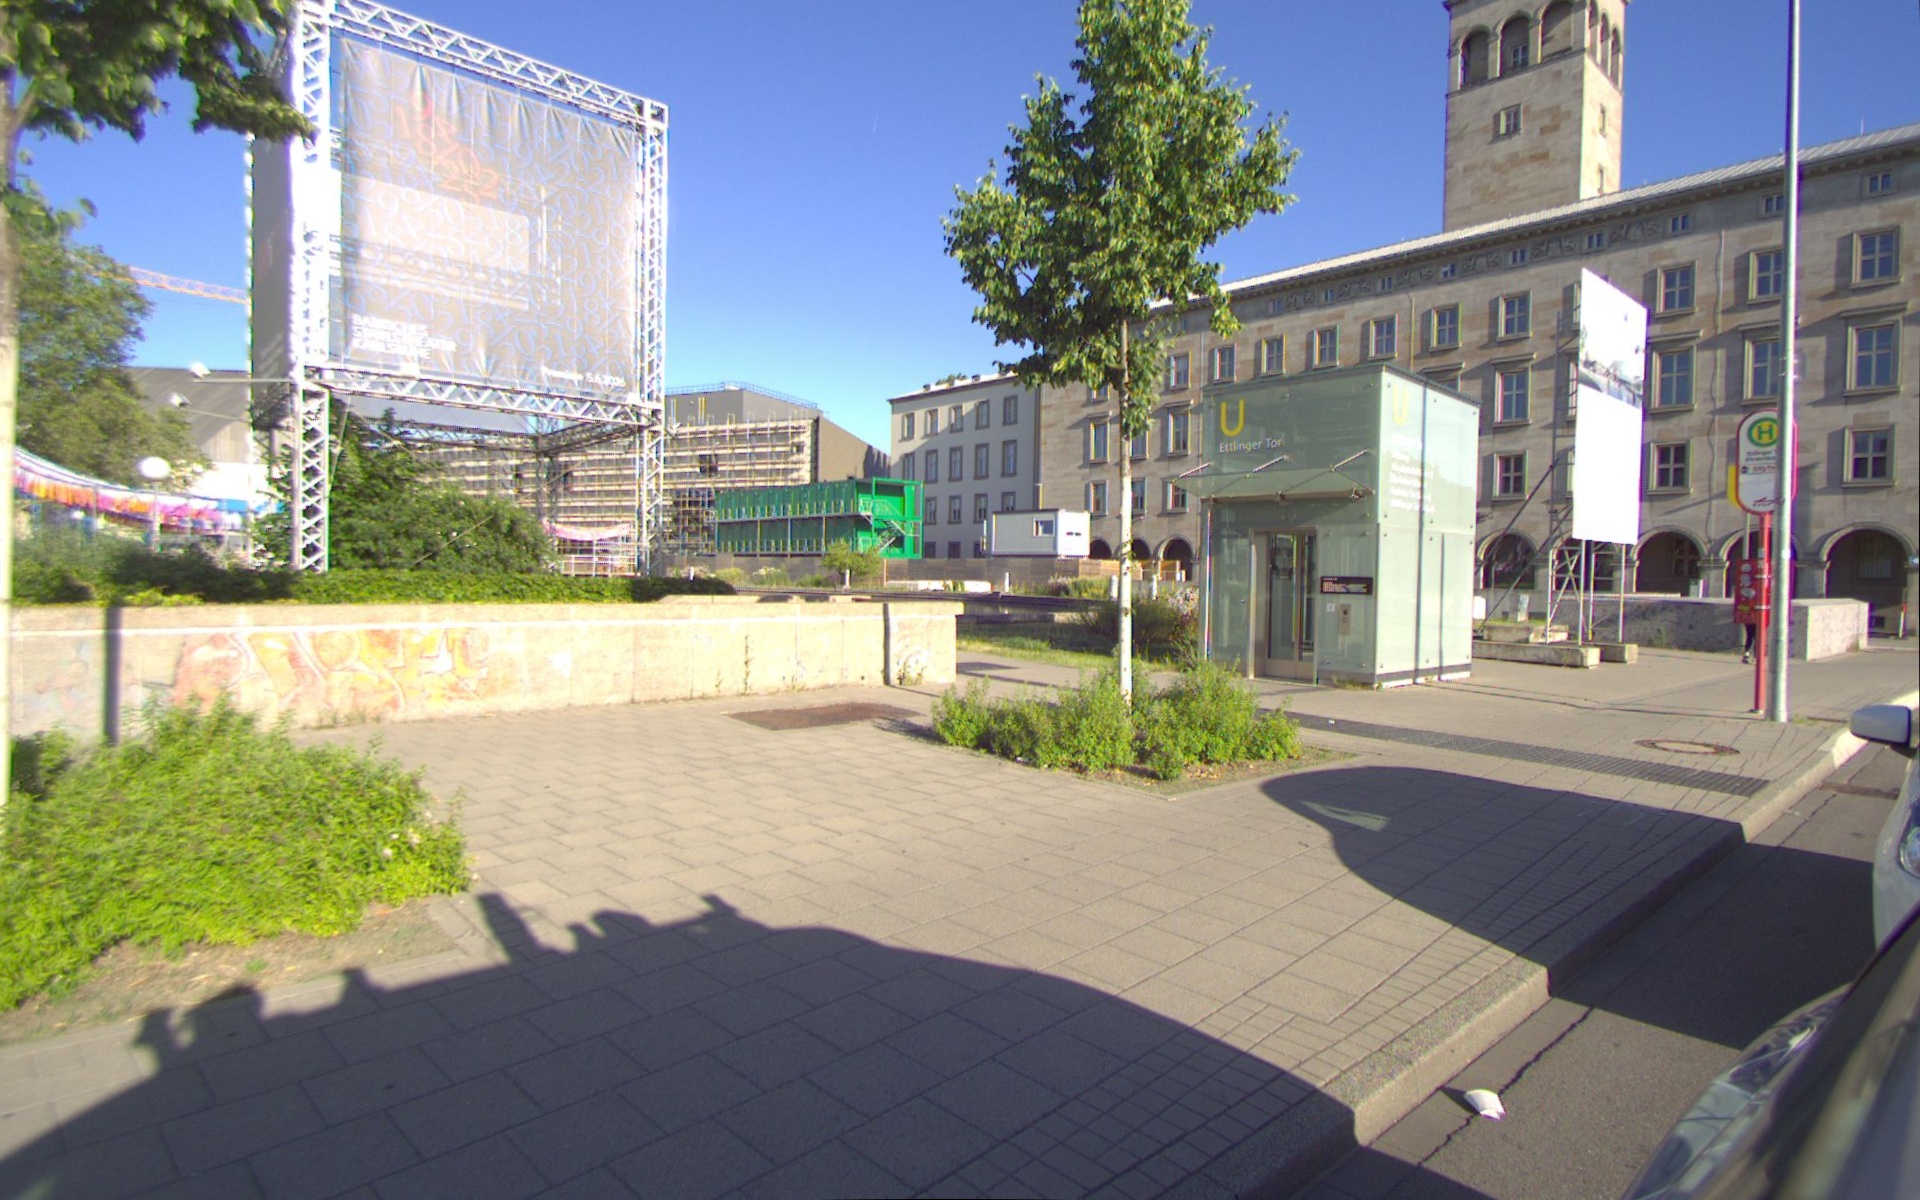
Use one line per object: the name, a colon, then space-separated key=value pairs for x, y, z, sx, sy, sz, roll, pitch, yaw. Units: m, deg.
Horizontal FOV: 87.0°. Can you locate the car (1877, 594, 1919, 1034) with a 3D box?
car: x=5.128 y=0.713 z=4.040 sx=3.820 sy=1.467 sz=1.677 roll=0 pitch=0 yaw=-40

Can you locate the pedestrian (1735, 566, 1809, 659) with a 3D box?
pedestrian: x=16.535 y=0.240 z=20.603 sx=1.053 sy=1.809 sz=0.942 roll=0 pitch=2 yaw=-41
